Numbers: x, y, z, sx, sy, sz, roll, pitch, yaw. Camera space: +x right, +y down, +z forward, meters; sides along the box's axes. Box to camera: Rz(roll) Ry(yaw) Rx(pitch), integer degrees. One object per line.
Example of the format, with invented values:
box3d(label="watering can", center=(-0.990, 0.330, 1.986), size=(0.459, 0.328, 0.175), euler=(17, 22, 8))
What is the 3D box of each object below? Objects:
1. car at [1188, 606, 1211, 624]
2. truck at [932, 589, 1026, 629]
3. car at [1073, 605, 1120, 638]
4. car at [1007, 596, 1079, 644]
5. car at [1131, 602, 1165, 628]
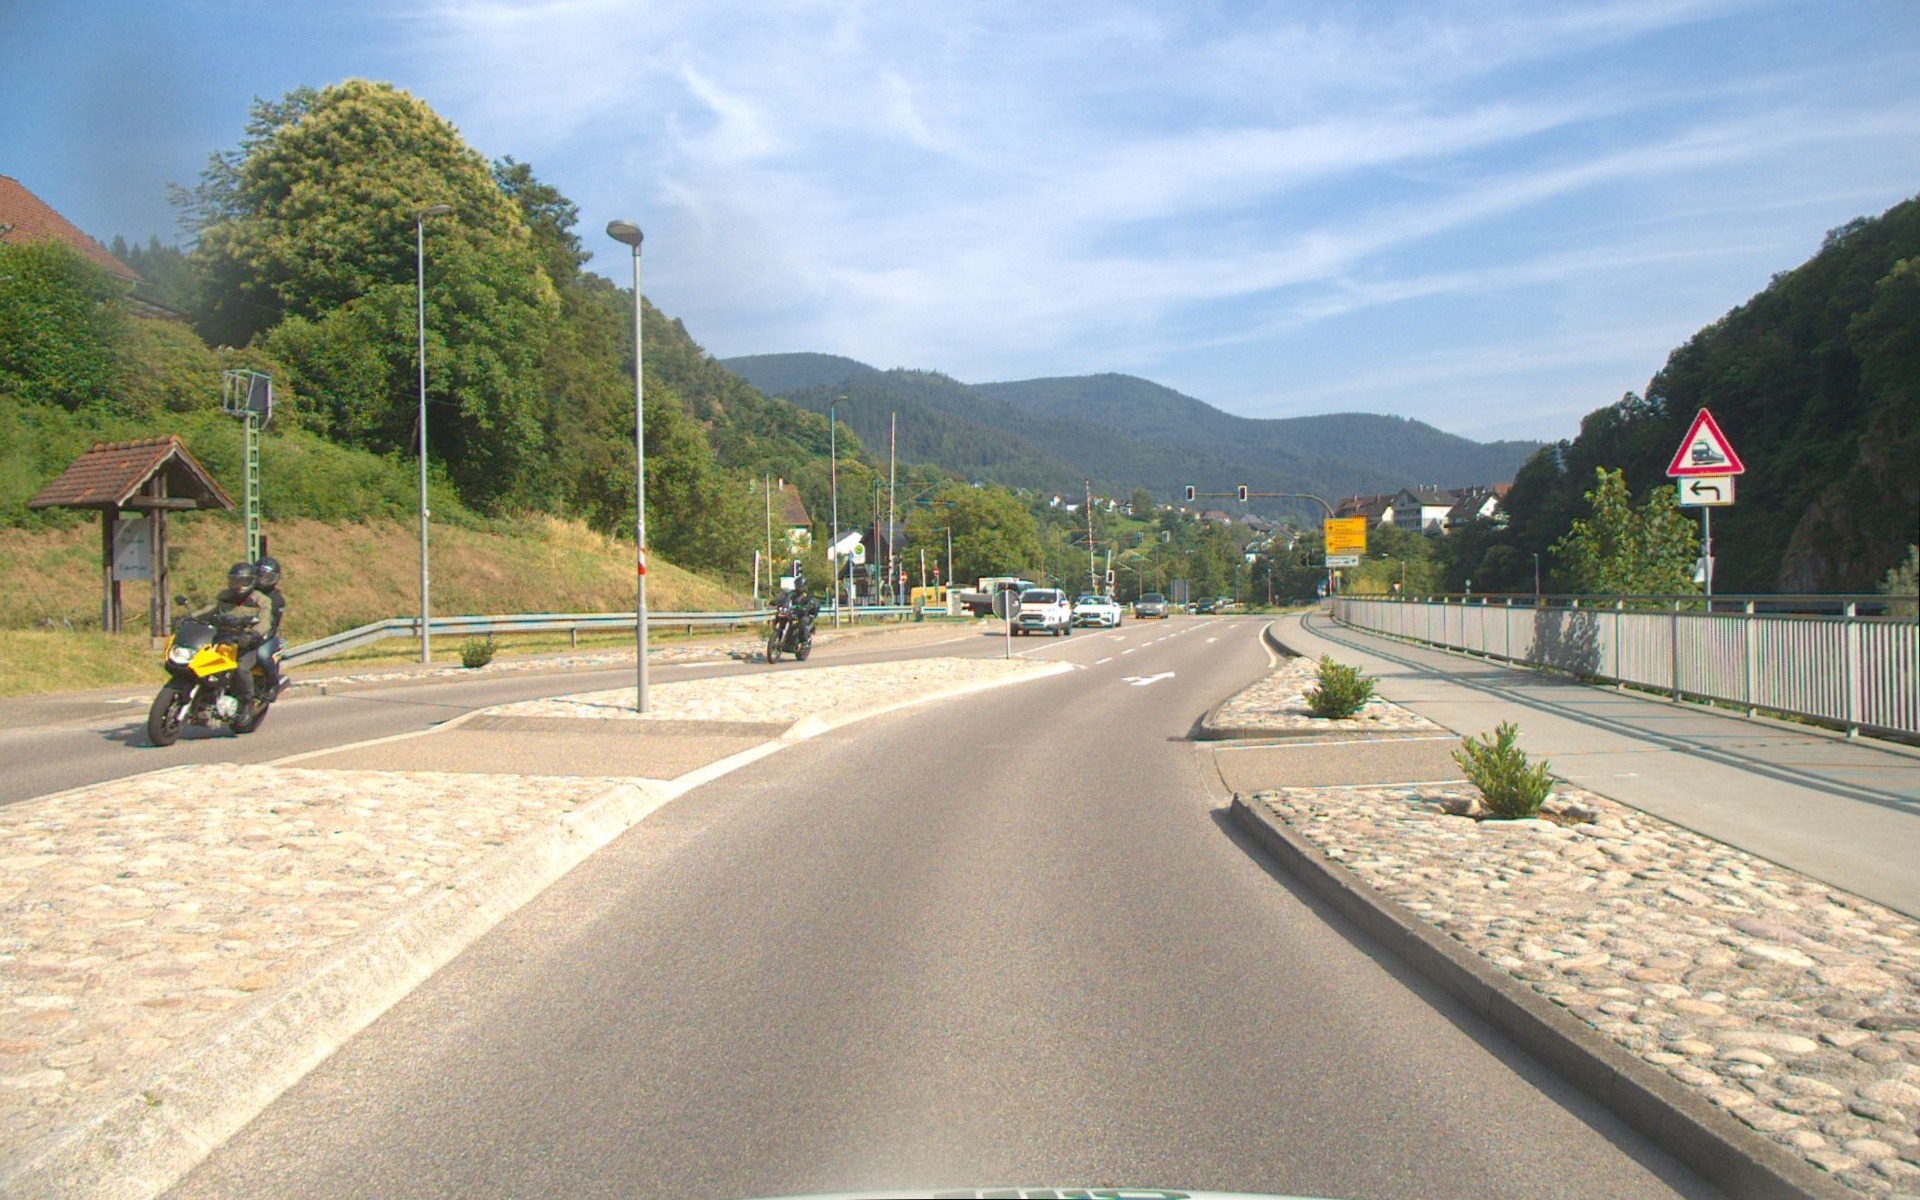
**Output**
box3d(label="car", center=(20.468, 1.266, 141.509), size=(1.735, 1.441, 3.788), euler=(-2, 0, 11))
box3d(label="truck", center=(1.103, 0.512, 98.891), size=(5.900, 2.306, 1.987), euler=(1, 1, 44))
box3d(label="car", center=(6.206, 0.954, 74.899), size=(1.744, 1.424, 4.831), euler=(0, -1, 9))
box3d(label="car", center=(2.937, 0.700, 57.859), size=(1.726, 1.588, 4.003), euler=(1, -1, 15))
box3d(label="car", center=(11.754, 0.957, 103.385), size=(1.721, 1.548, 4.208), euler=(1, -1, 11))
